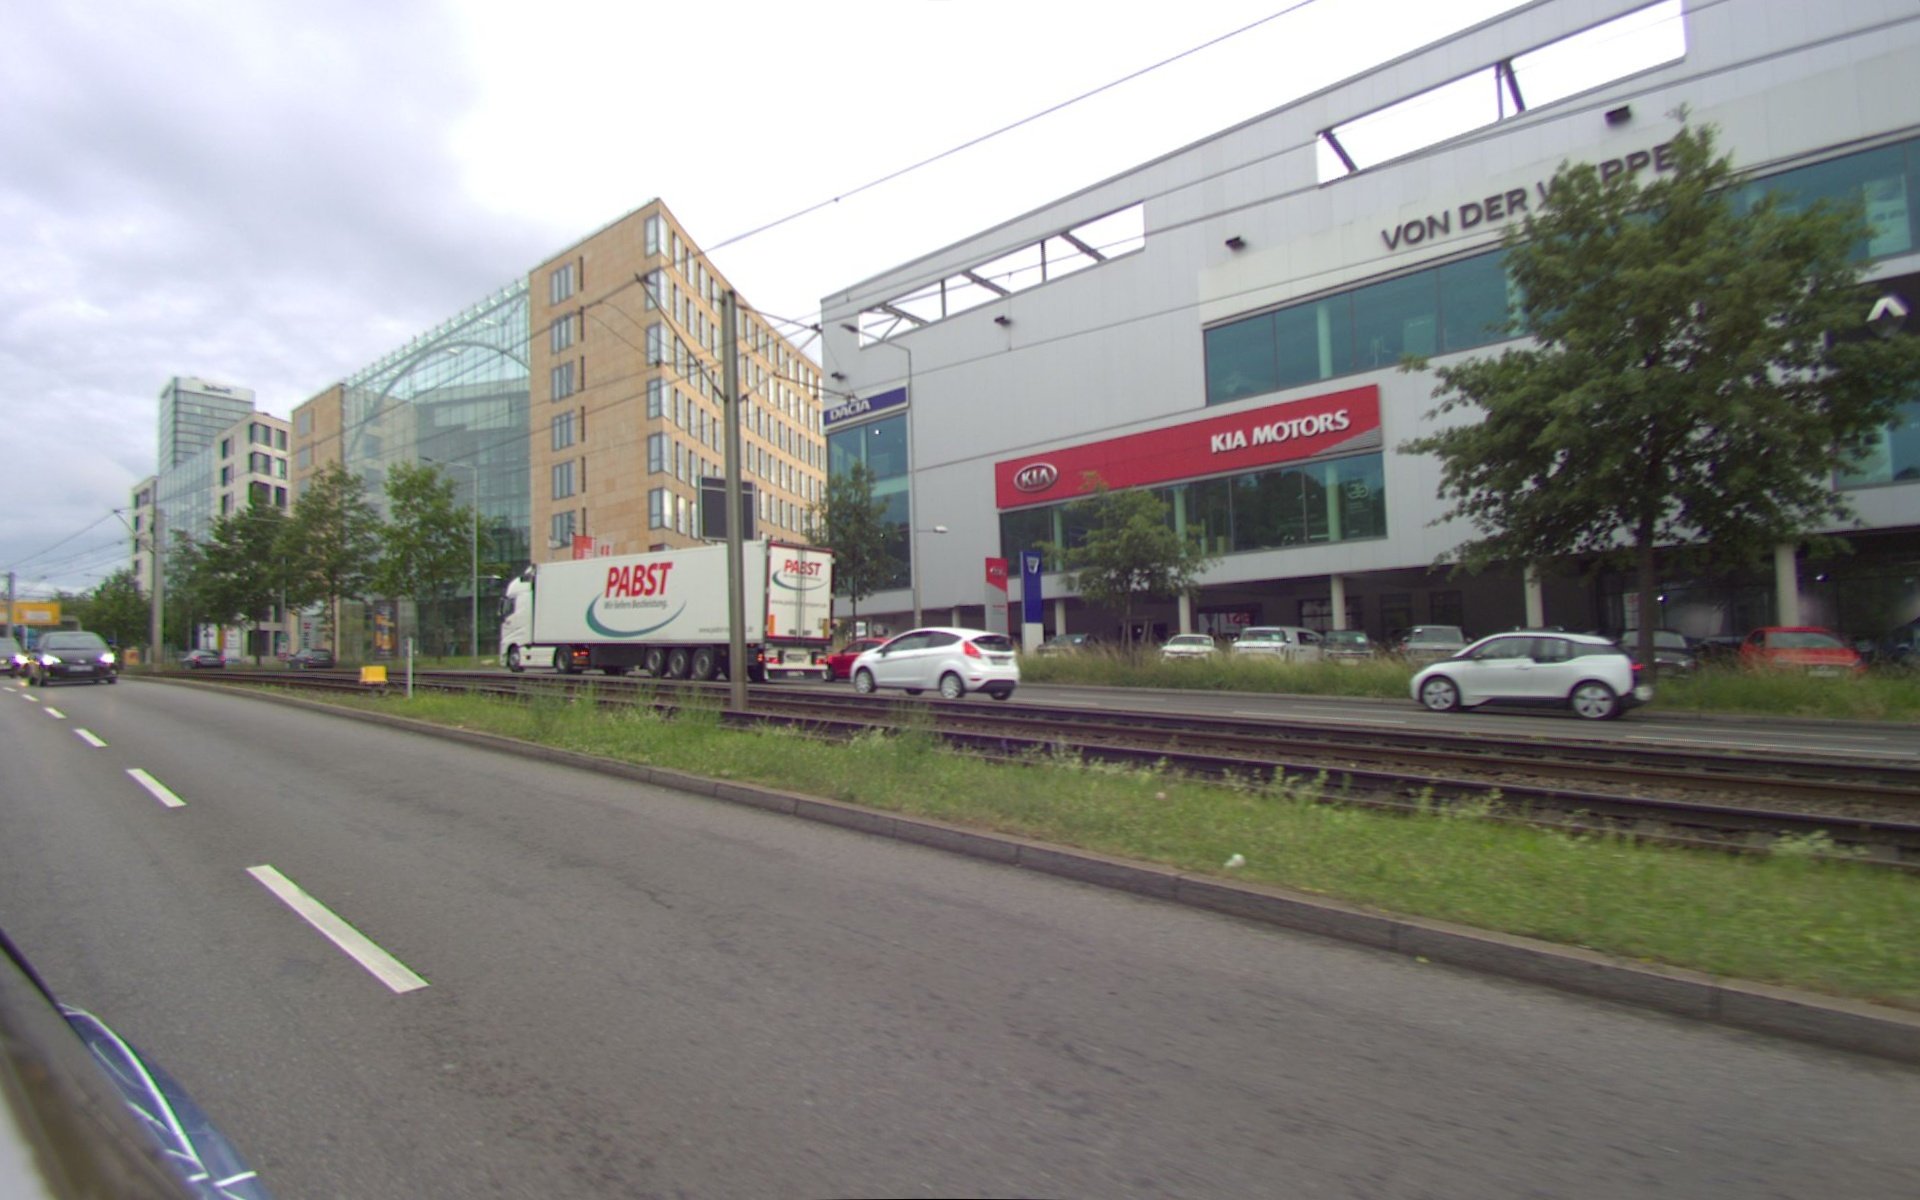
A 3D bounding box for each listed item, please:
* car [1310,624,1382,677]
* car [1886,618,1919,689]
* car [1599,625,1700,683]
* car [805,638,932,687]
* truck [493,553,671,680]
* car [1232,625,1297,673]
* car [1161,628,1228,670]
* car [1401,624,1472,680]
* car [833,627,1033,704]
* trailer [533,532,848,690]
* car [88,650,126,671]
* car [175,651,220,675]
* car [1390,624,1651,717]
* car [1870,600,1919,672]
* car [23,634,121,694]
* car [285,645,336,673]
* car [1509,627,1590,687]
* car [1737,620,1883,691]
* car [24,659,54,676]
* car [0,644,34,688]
[{"bbox_3d":[11.905,1.512,31.104,1.690,1.362,3.494,-2,1,26],"label":"car"},{"bbox_3d":[22.239,1.175,22.420,1.917,1.362,4.000,-2,1,34],"label":"car"},{"bbox_3d":[17.627,1.349,26.011,1.691,1.190,3.493,-2,1,27],"label":"car"},{"bbox_3d":[-2.911,1.910,31.687,4.023,1.380,1.666,-2,-2,41],"label":"car"},{"bbox_3d":[-14.113,0.716,37.515,7.025,4.276,3.102,-2,-5,41],"label":"truck"},{"bbox_3d":[10.025,1.580,33.162,1.688,1.304,3.638,-2,1,22],"label":"car"},{"bbox_3d":[8.145,1.662,34.965,1.687,1.196,3.638,-2,1,22],"label":"car"},{"bbox_3d":[13.908,1.482,29.686,1.688,1.362,3.498,-2,1,23],"label":"car"},{"bbox_3d":[-0.618,1.320,20.939,4.097,1.447,1.666,-2,-4,41],"label":"car"},{"bbox_3d":[-9.371,0.560,33.422,13.274,4.363,3.101,-2,-5,41],"label":"trailer"},{"bbox_3d":[-65.003,4.597,77.111,4.097,1.447,1.666,-2,-2,41],"label":"car"},{"bbox_3d":[-51.104,4.205,67.831,4.098,1.447,1.666,-2,-2,42],"label":"car"},{"bbox_3d":[10.617,1.315,19.355,4.098,1.593,1.666,-2,-5,42],"label":"car"},{"bbox_3d":[26.337,0.870,25.607,4.494,1.796,1.995,-1,-2,8],"label":"car"},{"bbox_3d":[-24.841,1.730,28.278,3.826,1.544,1.681,-2,-2,43],"label":"car"},{"bbox_3d":[-41.594,3.755,64.775,3.995,1.630,1.610,-2,-2,39],"label":"car"},{"bbox_3d":[15.976,1.511,27.582,1.691,1.362,3.493,-2,1,27],"label":"car"},{"bbox_3d":[20.000,1.266,24.007,1.791,1.362,3.898,-2,1,27],"label":"car"},{"bbox_3d":[-88.273,6.446,97.000,4.097,1.447,1.666,-2,-2,41],"label":"car"},{"bbox_3d":[-37.983,2.599,39.861,4.315,1.619,1.763,-2,-1,41],"label":"car"}]
